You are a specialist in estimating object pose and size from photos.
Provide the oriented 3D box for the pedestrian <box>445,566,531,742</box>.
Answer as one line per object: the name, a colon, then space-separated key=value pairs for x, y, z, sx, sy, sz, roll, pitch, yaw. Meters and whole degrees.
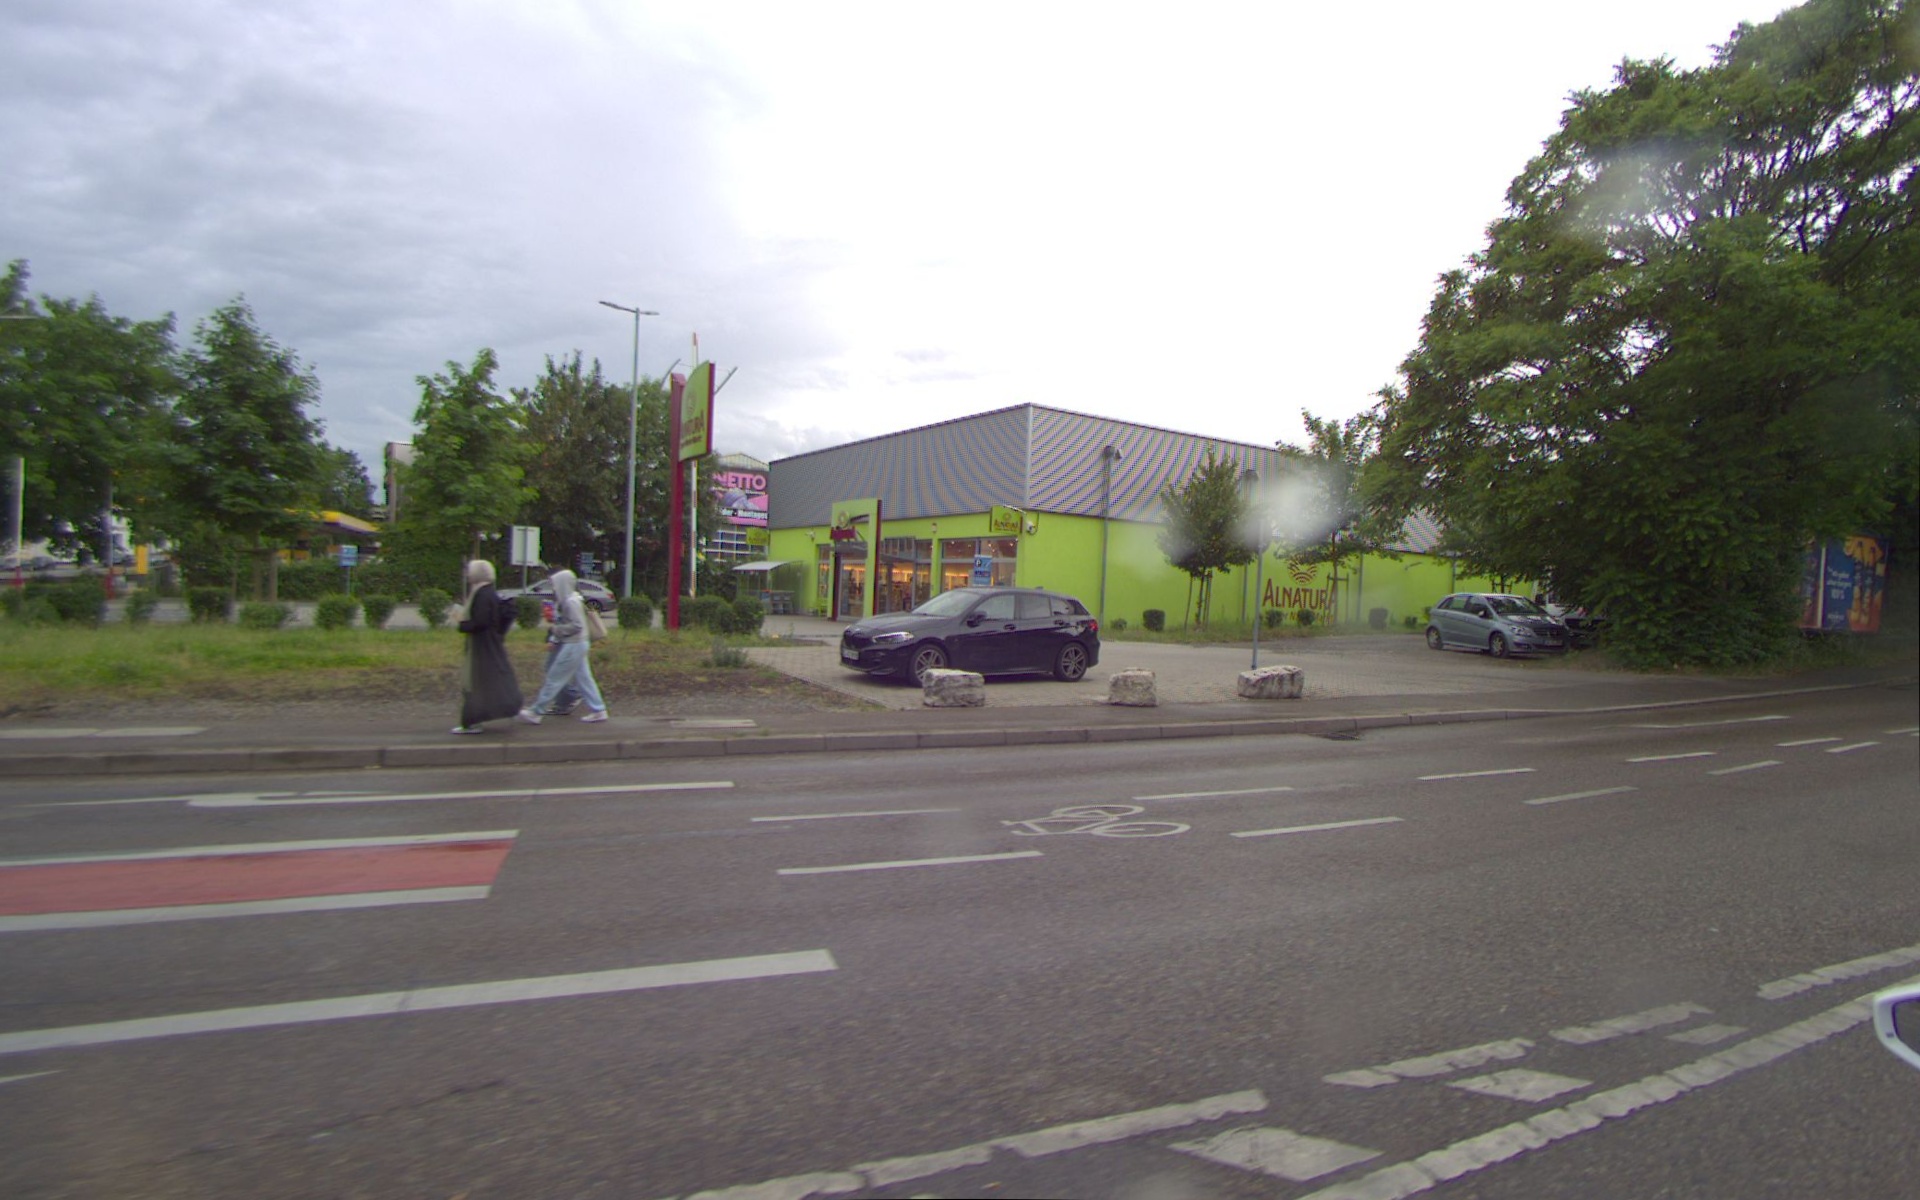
pedestrian: x=-4.543 y=0.500 z=9.707 sx=0.667 sy=1.624 sz=0.655 roll=1 pitch=3 yaw=-18

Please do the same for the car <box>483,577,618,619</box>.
car: x=-14.879 y=-0.064 z=36.537 sx=4.330 sy=1.363 sz=1.760 roll=2 pitch=1 yaw=-32

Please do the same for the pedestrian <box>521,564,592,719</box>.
pedestrian: x=-4.384 y=0.434 z=10.947 sx=0.667 sy=1.624 sz=0.655 roll=1 pitch=3 yaw=-18

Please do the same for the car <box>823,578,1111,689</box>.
car: x=0.160 y=0.493 z=15.651 sx=4.187 sy=1.468 sz=1.737 roll=1 pitch=2 yaw=-32

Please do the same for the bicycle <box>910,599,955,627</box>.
bicycle: x=-1.007 y=0.479 z=36.603 sx=1.598 sy=0.995 sz=0.529 roll=2 pitch=0 yaw=-33

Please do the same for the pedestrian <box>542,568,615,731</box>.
pedestrian: x=-3.956 y=0.492 z=10.451 sx=0.667 sy=1.624 sz=0.604 roll=1 pitch=3 yaw=-18

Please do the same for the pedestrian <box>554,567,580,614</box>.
pedestrian: x=-13.848 y=-0.332 z=35.381 sx=0.793 sy=1.618 sz=0.754 roll=0 pitch=3 yaw=-24

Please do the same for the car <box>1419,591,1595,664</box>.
car: x=13.945 y=0.634 z=25.934 sx=1.962 sy=1.564 sz=4.121 roll=1 pitch=2 yaw=-6

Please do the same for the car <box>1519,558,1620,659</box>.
car: x=17.399 y=0.157 z=28.925 sx=2.075 sy=2.567 sz=5.596 roll=3 pitch=3 yaw=28
